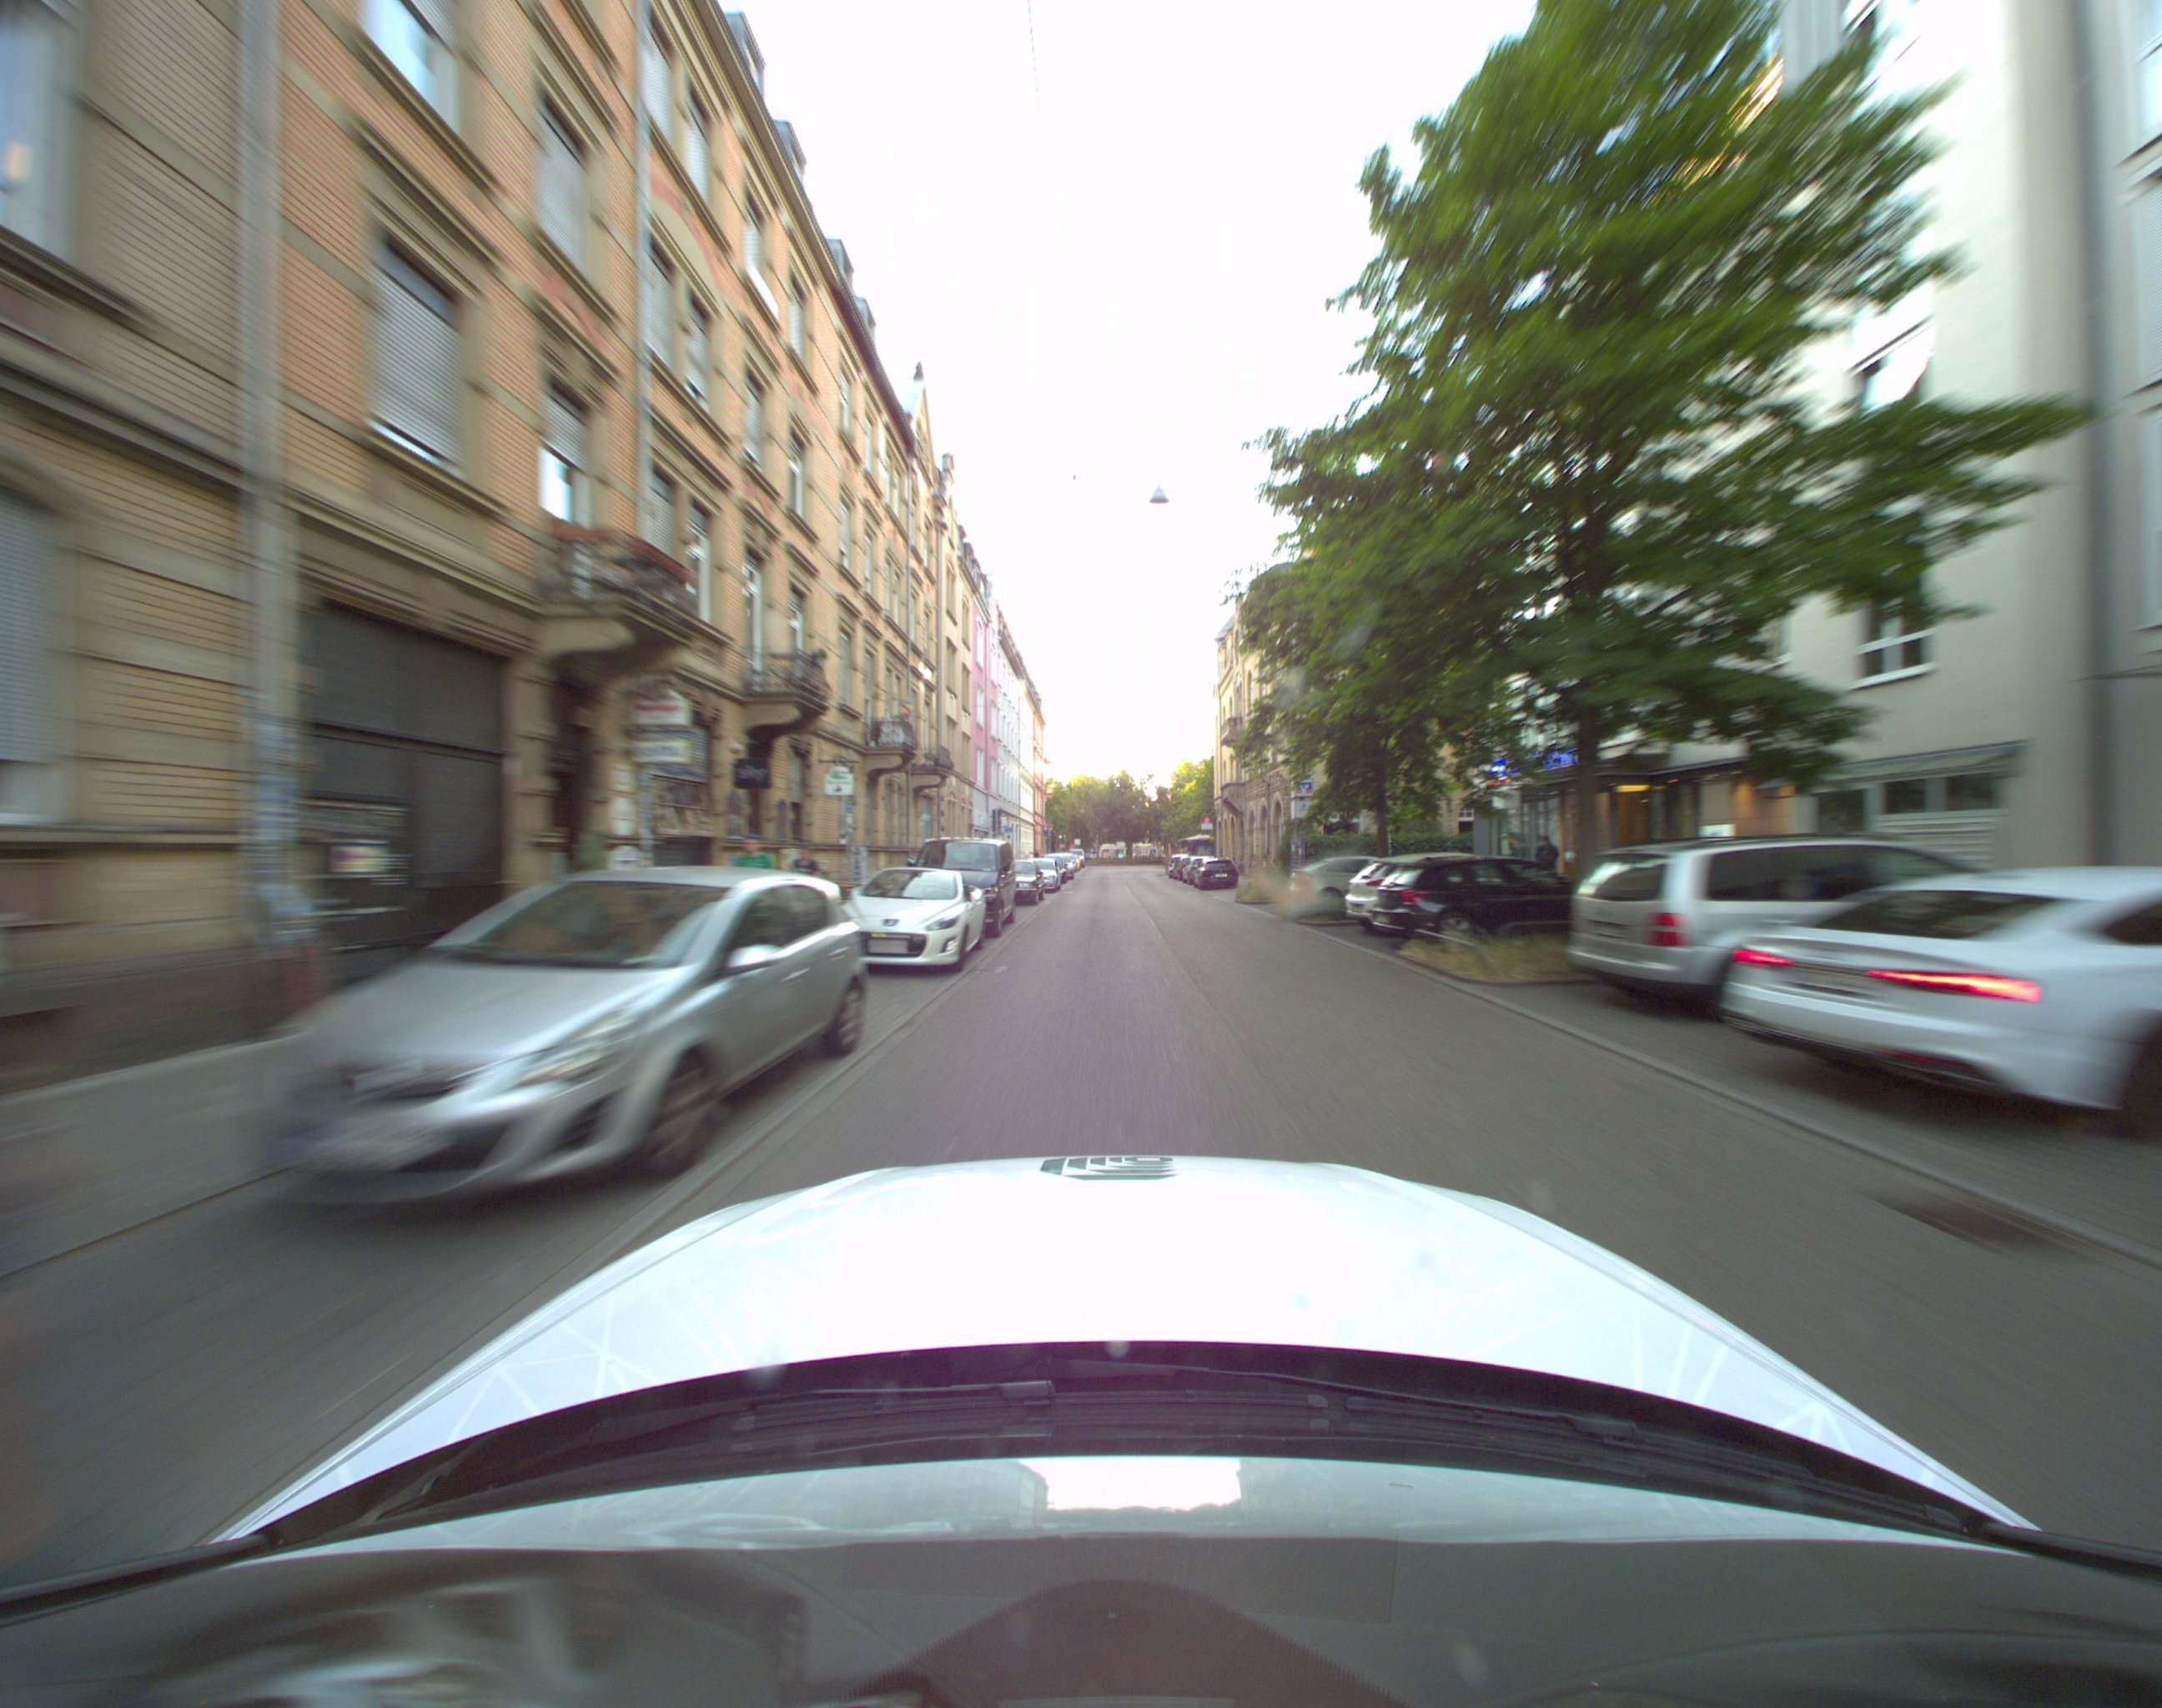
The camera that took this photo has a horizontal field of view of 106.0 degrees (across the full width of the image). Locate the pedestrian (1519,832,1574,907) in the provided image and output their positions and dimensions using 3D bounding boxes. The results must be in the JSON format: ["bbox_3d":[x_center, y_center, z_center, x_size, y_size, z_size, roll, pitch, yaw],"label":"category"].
[{"bbox_3d":[11.167,0.361,19.572,0.724,1.716,0.964,-3,-1,2],"label":"pedestrian"}]

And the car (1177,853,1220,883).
[{"bbox_3d":[6.302,0.736,44.079,1.670,1.456,4.230,-4,0,1],"label":"car"}]

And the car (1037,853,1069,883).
[{"bbox_3d":[-1.528,0.762,45.817,1.630,1.565,3.782,0,0,1],"label":"car"}]

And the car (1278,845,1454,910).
[{"bbox_3d":[7.563,0.613,21.909,4.068,1.452,1.884,-3,0,3],"label":"car"}]

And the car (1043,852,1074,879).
[{"bbox_3d":[-1.408,0.722,51.997,1.839,1.659,4.250,-1,0,-1],"label":"car"}]

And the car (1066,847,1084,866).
[{"bbox_3d":[-0.671,0.314,88.460,1.806,1.977,4.182,1,0,-3],"label":"car"}]

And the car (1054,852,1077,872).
[{"bbox_3d":[-1.283,0.663,68.124,1.692,1.621,4.023,1,0,1],"label":"car"}]

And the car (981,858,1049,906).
[{"bbox_3d":[-2.107,0.862,27.043,1.730,1.418,4.779,1,-1,1],"label":"car"}]

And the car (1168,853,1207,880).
[{"bbox_3d":[6.449,0.731,49.646,1.672,1.456,3.797,-4,0,-2],"label":"car"}]

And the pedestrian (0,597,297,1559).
[{"bbox_3d":[-2.253,0.408,1.486,0.551,1.755,1.024,0,-1,8],"label":"pedestrian"}]

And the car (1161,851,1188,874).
[{"bbox_3d":[6.941,0.607,60.539,1.669,1.501,4.021,-4,0,3],"label":"car"}]

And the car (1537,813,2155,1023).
[{"bbox_3d":[7.204,0.562,8.029,4.383,1.647,1.747,-3,0,1],"label":"car"}]

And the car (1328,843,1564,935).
[{"bbox_3d":[6.997,0.637,15.841,3.786,1.452,1.733,-3,0,-4],"label":"car"}]

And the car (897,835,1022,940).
[{"bbox_3d":[-2.448,0.624,17.690,1.987,1.924,4.949,1,0,-1],"label":"car"}]

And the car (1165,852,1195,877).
[{"bbox_3d":[6.609,0.654,54.672,1.669,1.501,3.904,-4,0,3],"label":"car"}]

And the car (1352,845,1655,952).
[{"bbox_3d":[6.723,0.666,13.266,3.975,1.456,1.827,-2,0,-1],"label":"car"}]

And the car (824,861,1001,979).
[{"bbox_3d":[-2.370,0.870,12.652,1.778,1.423,4.484,2,0,0],"label":"car"}]

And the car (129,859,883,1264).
[{"bbox_3d":[-2.698,0.799,5.109,1.710,1.457,4.003,1,0,3],"label":"car"}]

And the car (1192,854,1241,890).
[{"bbox_3d":[6.259,0.787,38.032,1.669,1.429,4.481,-4,0,2],"label":"car"}]

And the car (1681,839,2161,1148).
[{"bbox_3d":[6.704,0.692,5.295,4.415,1.455,1.777,-3,0,-5],"label":"car"}]

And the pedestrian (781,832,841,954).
[{"bbox_3d":[-4.075,0.572,12.345,0.604,1.772,0.776,2,0,-2],"label":"pedestrian"}]

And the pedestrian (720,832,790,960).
[{"bbox_3d":[-4.733,0.580,11.886,0.578,1.771,0.997,2,1,-2],"label":"pedestrian"}]

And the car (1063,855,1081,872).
[{"bbox_3d":[-0.883,0.901,80.309,1.693,1.552,4.020,1,0,-1],"label":"car"}]

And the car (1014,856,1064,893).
[{"bbox_3d":[-1.808,0.860,36.294,1.827,1.458,4.208,2,0,2],"label":"car"}]

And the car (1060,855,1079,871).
[{"bbox_3d":[-1.047,0.797,74.378,1.693,1.426,4.020,1,0,-1],"label":"car"}]
